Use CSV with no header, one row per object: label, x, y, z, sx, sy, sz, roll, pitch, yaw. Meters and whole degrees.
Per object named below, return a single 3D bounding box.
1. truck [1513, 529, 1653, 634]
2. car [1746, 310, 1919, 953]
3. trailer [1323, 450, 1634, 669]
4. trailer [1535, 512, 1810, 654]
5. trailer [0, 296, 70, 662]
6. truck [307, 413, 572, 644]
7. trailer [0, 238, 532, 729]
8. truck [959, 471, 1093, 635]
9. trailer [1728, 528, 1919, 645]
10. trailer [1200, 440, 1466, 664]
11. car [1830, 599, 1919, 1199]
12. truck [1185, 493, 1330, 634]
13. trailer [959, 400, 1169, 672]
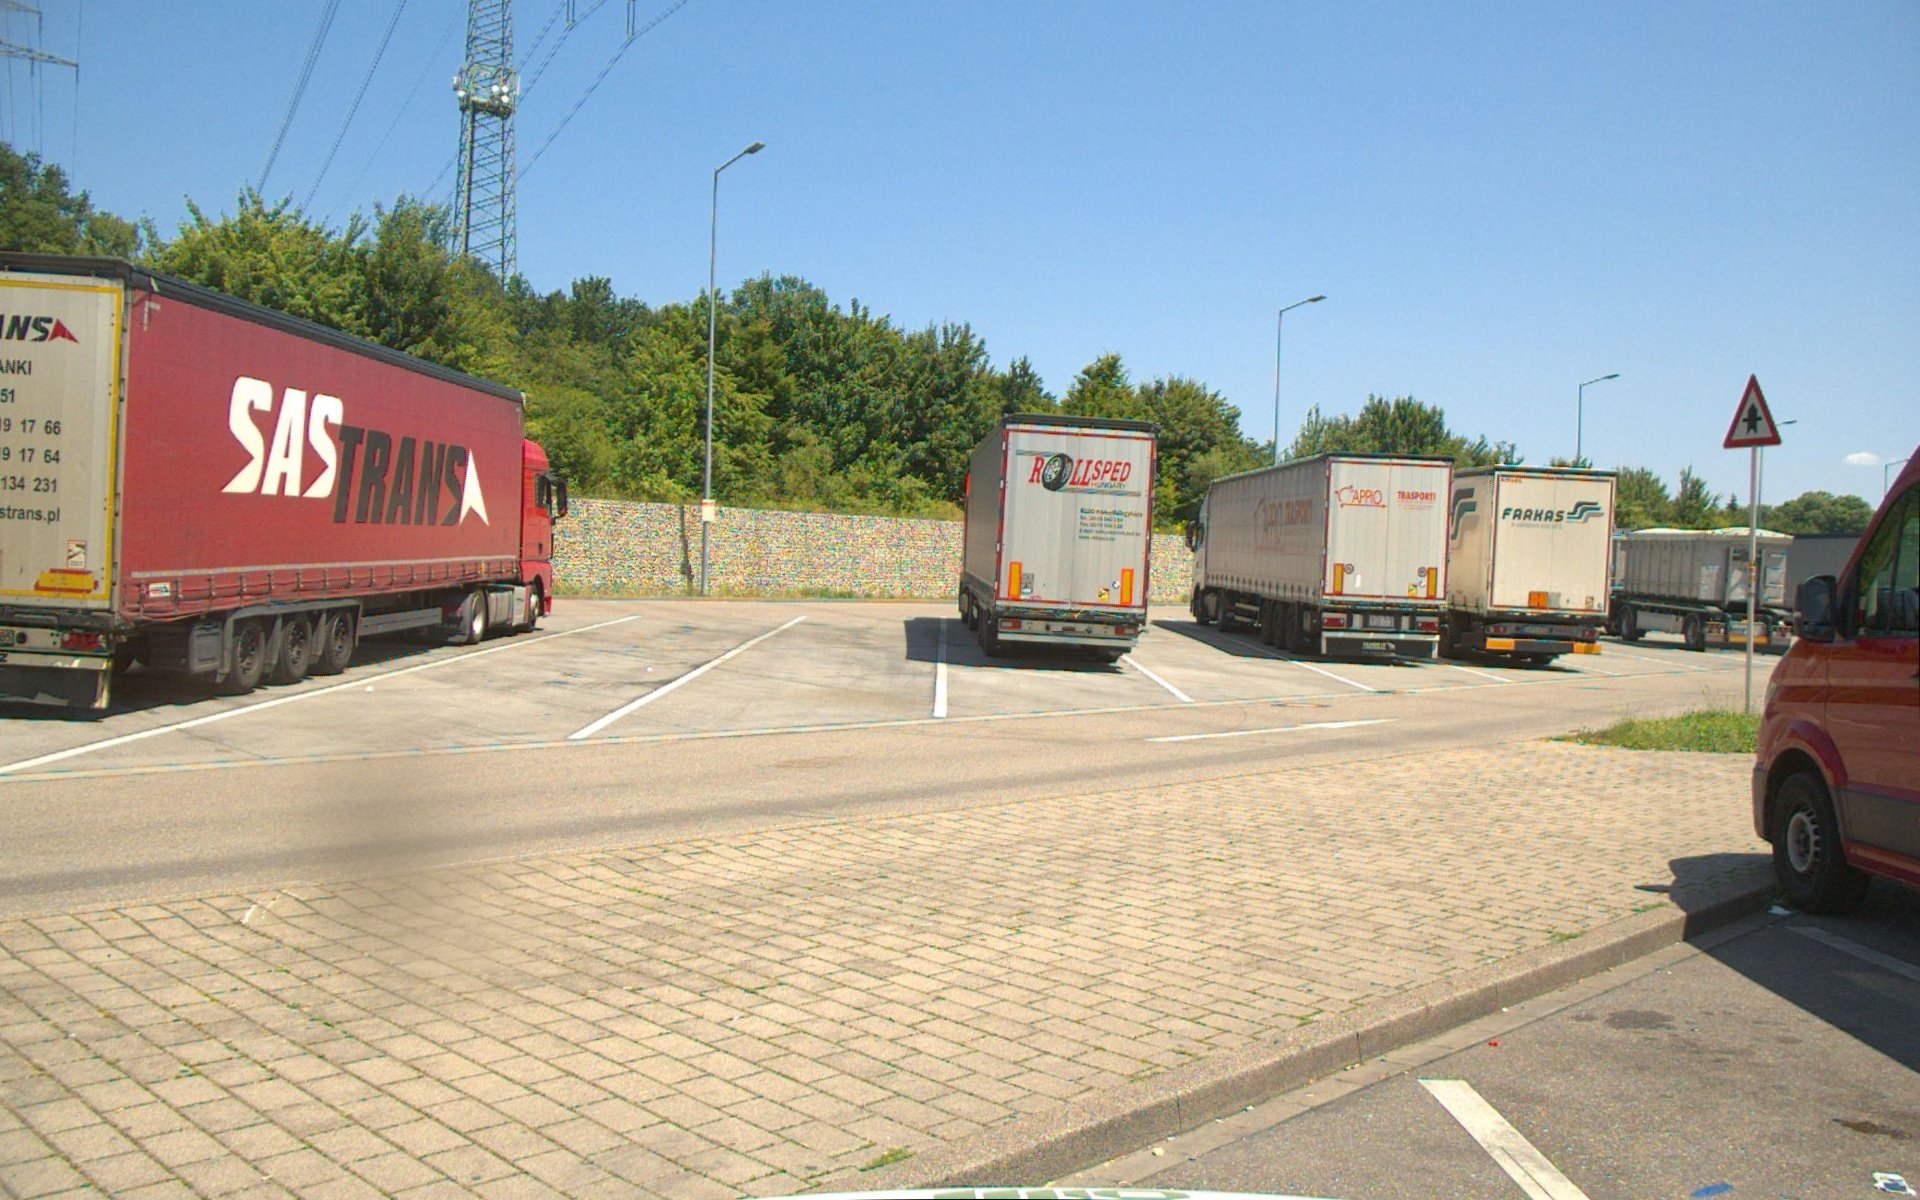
truck,22.009,-0.707,58.719,2.794,3.423,5.484,3,2,0
car,5.014,0.168,5.566,2.023,2.742,6.397,1,1,4
trailer,11.772,-1.012,39.639,2.781,4.204,13.722,2,2,-1
trailer,21.928,-0.677,52.214,2.780,3.781,13.726,3,2,1
trailer,-12.521,-1.310,15.708,2.673,4.282,10.170,2,2,-1
truck,-8.790,-1.206,28.627,2.794,3.487,5.482,2,2,-1
trailer,-8.676,-1.297,21.191,2.848,4.203,13.723,2,2,-1
truck,1.483,-1.141,39.854,2.794,3.544,5.482,2,2,-1
trailer,34.940,-0.633,65.419,2.780,4.119,13.726,3,2,1
trailer,8.212,-1.134,38.834,2.781,4.204,13.722,2,2,-1
car,2.603,0.802,1.161,1.703,1.508,3.813,1,1,-6
truck,8.098,-1.034,45.644,2.794,3.544,5.482,2,2,-1
trailer,1.652,-1.228,33.245,2.848,4.204,13.720,2,2,-2
